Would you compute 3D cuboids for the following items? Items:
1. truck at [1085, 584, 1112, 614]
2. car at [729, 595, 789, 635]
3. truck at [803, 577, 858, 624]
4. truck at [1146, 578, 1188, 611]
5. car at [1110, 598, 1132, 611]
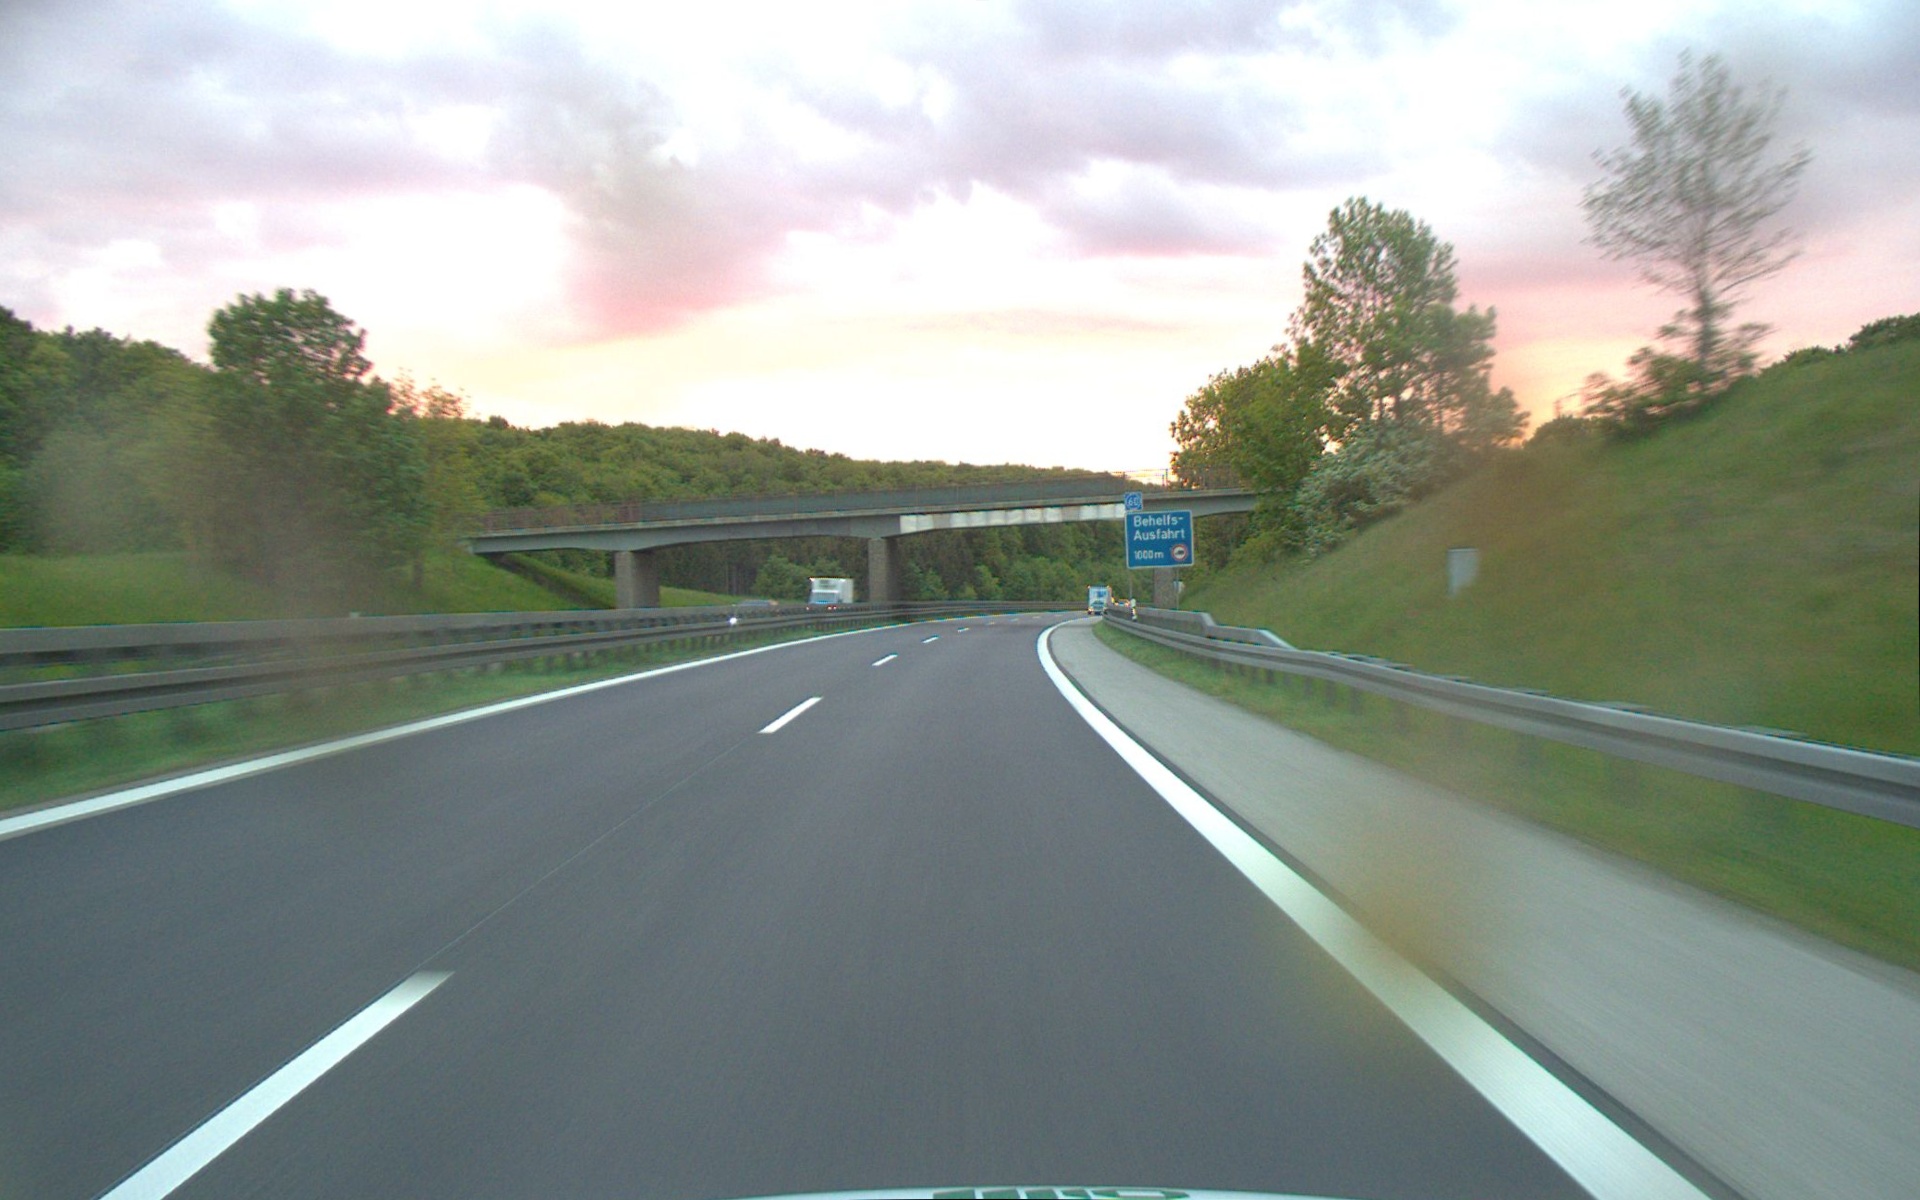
[{"bbox_3d":[13.460,-0.159,160.344,2.227,2.711,5.241,-2,1,9],"label":"truck"},{"bbox_3d":[-9.246,0.670,76.412,1.737,1.744,4.641,0,0,6],"label":"car"},{"bbox_3d":[-9.088,0.015,116.757,2.556,3.164,6.673,1,0,7],"label":"truck"},{"bbox_3d":[28.102,-0.743,223.937,3.873,4.362,14.334,-1,0,14],"label":"truck"},{"bbox_3d":[20.707,0.591,212.346,1.952,1.544,4.002,-1,0,19],"label":"car"}]
